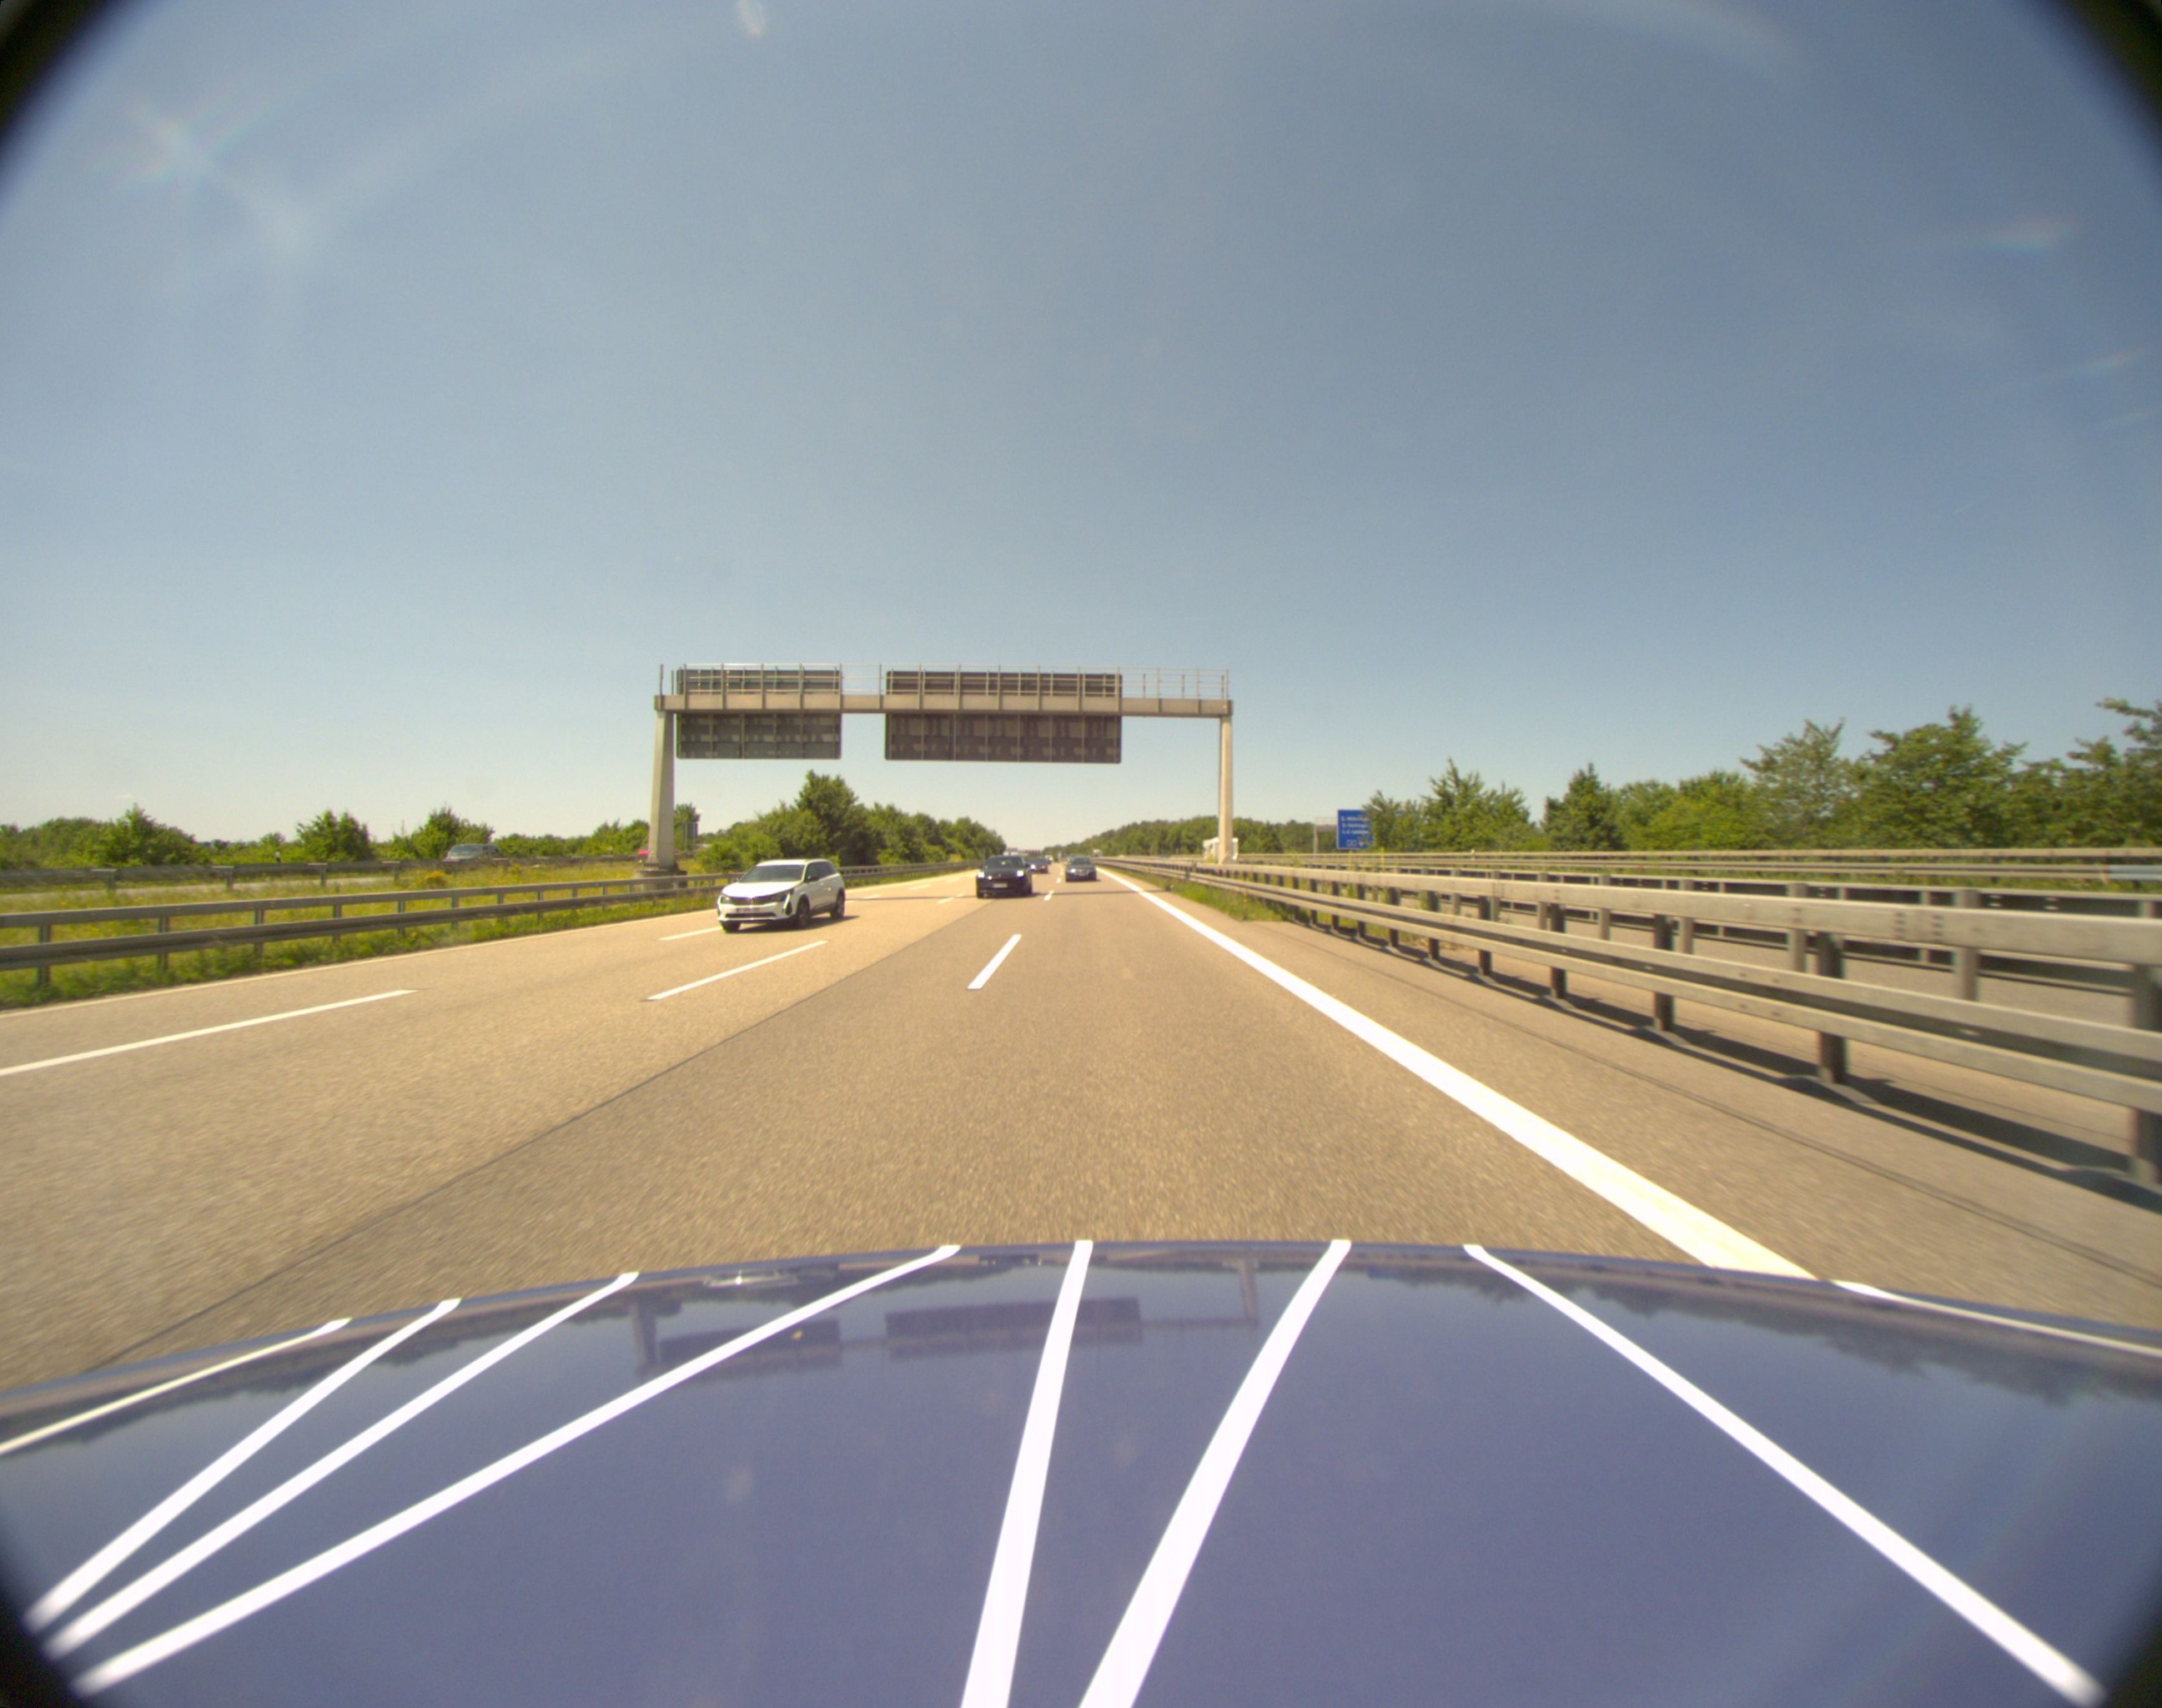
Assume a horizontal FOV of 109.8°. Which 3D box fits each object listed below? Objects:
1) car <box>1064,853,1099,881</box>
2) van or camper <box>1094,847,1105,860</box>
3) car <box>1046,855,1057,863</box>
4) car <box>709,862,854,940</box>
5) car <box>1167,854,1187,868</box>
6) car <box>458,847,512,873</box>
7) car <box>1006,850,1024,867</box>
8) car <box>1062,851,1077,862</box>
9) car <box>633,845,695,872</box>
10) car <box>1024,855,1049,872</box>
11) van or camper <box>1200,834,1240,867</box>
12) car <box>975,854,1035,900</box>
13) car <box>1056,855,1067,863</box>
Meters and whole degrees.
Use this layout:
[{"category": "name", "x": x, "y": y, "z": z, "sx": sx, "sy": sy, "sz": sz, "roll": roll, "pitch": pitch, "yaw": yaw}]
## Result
[{"category": "car", "x": 0.073, "y": 0.733, "z": 44.808, "sx": 1.931, "sy": 1.499, "sz": 4.391, "roll": -2, "pitch": 0, "yaw": 2}, {"category": "van or camper", "x": 4.840, "y": -0.164, "z": 202.833, "sx": 2.320, "sy": 3.292, "sz": 6.830, "roll": -2, "pitch": 0, "yaw": -3}, {"category": "car", "x": -5.487, "y": 0.876, "z": 141.046, "sx": 1.932, "sy": 1.390, "sz": 4.117, "roll": -2, "pitch": 0, "yaw": -1}, {"category": "car", "x": -7.238, "y": 1.049, "z": 18.921, "sx": 1.748, "sy": 1.582, "sz": 4.619, "roll": -2, "pitch": 0, "yaw": -1}, {"category": "car", "x": 10.284, "y": 0.710, "z": 81.731, "sx": 1.602, "sy": 1.407, "sz": 4.264, "roll": -1, "pitch": 0, "yaw": 0}, {"category": "car", "x": -38.802, "y": 0.404, "z": 49.579, "sx": 1.707, "sy": 1.566, "sz": 4.120, "roll": -2, "pitch": 1, "yaw": -24}, {"category": "car", "x": -7.754, "y": 0.476, "z": 90.066, "sx": 1.809, "sy": 1.908, "sz": 4.294, "roll": -2, "pitch": 0, "yaw": -1}, {"category": "car", "x": -1.611, "y": 0.319, "z": 105.101, "sx": 1.931, "sy": 1.390, "sz": 4.117, "roll": -2, "pitch": 0, "yaw": 0}, {"category": "car", "x": -26.666, "y": 0.286, "z": 48.733, "sx": 1.932, "sy": 1.586, "sz": 4.129, "roll": -2, "pitch": 0, "yaw": -6}, {"category": "car", "x": -3.851, "y": 0.809, "z": 66.753, "sx": 1.931, "sy": 1.390, "sz": 4.117, "roll": -2, "pitch": 0, "yaw": -1}, {"category": "van or camper", "x": 13.860, "y": -0.293, "z": 76.267, "sx": 2.450, "sy": 3.069, "sz": 8.122, "roll": -2, "pitch": 0, "yaw": 0}, {"category": "car", "x": -2.891, "y": 0.838, "z": 29.877, "sx": 1.931, "sy": 1.586, "sz": 4.131, "roll": -2, "pitch": 0, "yaw": -1}, {"category": "car", "x": -4.750, "y": 1.186, "z": 187.918, "sx": 2.000, "sy": 1.849, "sz": 3.996, "roll": -2, "pitch": 0, "yaw": -11}]
